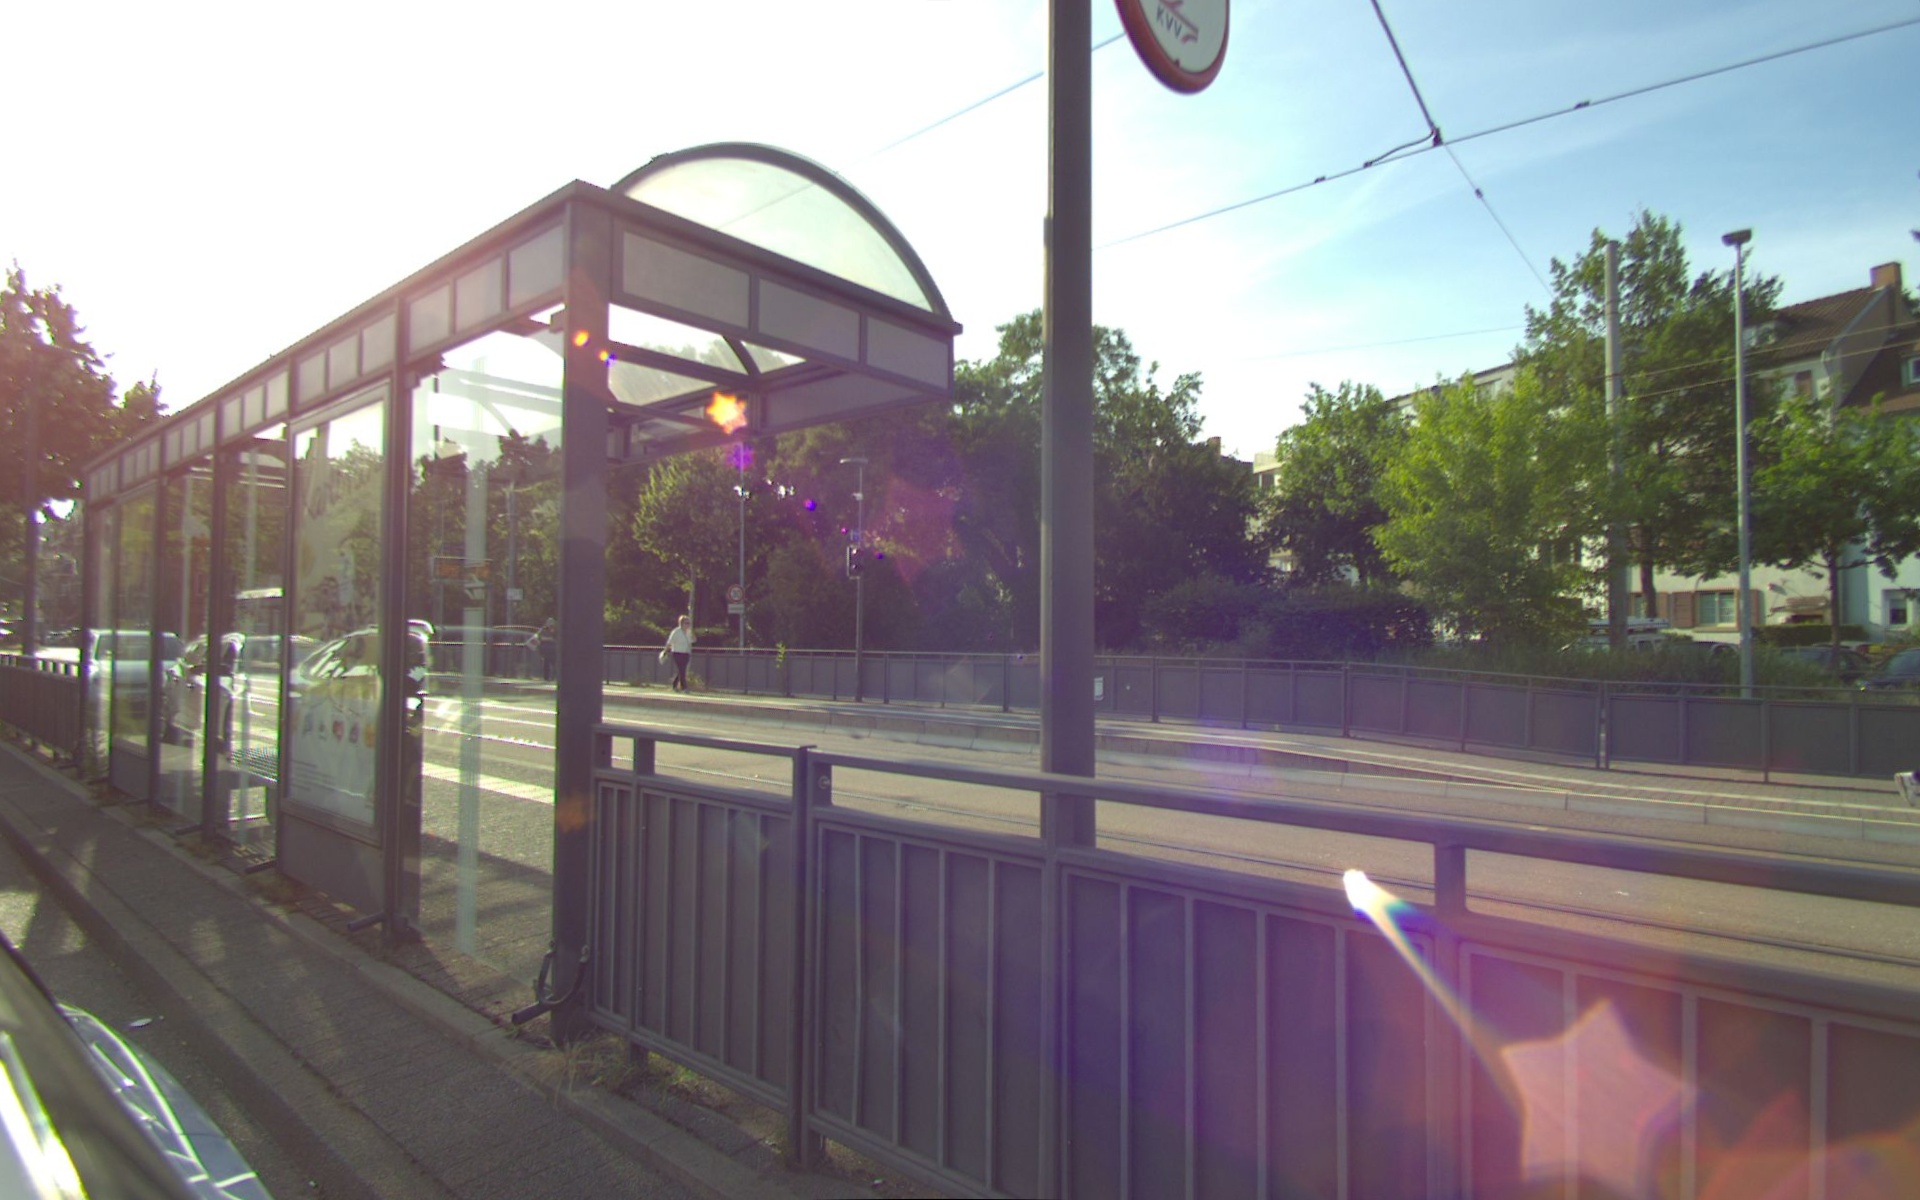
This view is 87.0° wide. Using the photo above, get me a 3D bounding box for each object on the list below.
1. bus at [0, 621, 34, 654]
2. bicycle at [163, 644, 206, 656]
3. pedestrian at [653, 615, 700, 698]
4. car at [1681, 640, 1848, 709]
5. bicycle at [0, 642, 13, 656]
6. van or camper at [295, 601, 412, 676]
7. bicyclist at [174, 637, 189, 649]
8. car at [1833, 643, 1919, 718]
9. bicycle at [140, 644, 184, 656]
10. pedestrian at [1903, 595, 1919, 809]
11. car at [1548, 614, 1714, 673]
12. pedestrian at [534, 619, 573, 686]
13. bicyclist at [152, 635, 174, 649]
[{"bbox_3d":[-103.749,4.064,110.923,9.258,3.461,2.405,-1,0,41],"label":"bus"},{"bbox_3d":[-59.135,3.792,77.183,2.501,0.888,0.631,3,-3,-44],"label":"bicycle"},{"bbox_3d":[-5.937,1.192,21.206,0.618,1.697,0.613,-2,-6,41],"label":"pedestrian"},{"bbox_3d":[18.181,1.621,22.837,3.935,1.409,2.004,2,-3,-37],"label":"car"},{"bbox_3d":[-67.236,3.369,69.629,0.878,0.988,2.925,-2,-3,38],"label":"bicycle"},{"bbox_3d":[-26.308,1.585,43.790,6.408,2.990,2.494,-1,0,41],"label":"van or camper"},{"bbox_3d":[-59.289,3.260,77.068,0.884,0.920,0.617,3,-3,-43],"label":"bicyclist"},{"bbox_3d":[19.633,1.598,20.610,3.935,1.409,2.004,2,-3,-37],"label":"car"},{"bbox_3d":[-59.385,3.733,75.317,0.631,0.888,2.502,-2,-3,45],"label":"bicycle"},{"bbox_3d":[8.108,0.822,8.007,0.877,1.697,0.547,-2,-6,41],"label":"pedestrian"},{"bbox_3d":[18.217,1.196,27.485,3.930,1.497,1.854,1,-3,-22],"label":"car"},{"bbox_3d":[-10.536,1.354,26.207,0.618,1.697,0.613,-2,-6,41],"label":"pedestrian"},{"bbox_3d":[-59.340,3.126,75.342,0.671,1.032,1.200,-2,-3,44],"label":"bicyclist"}]
